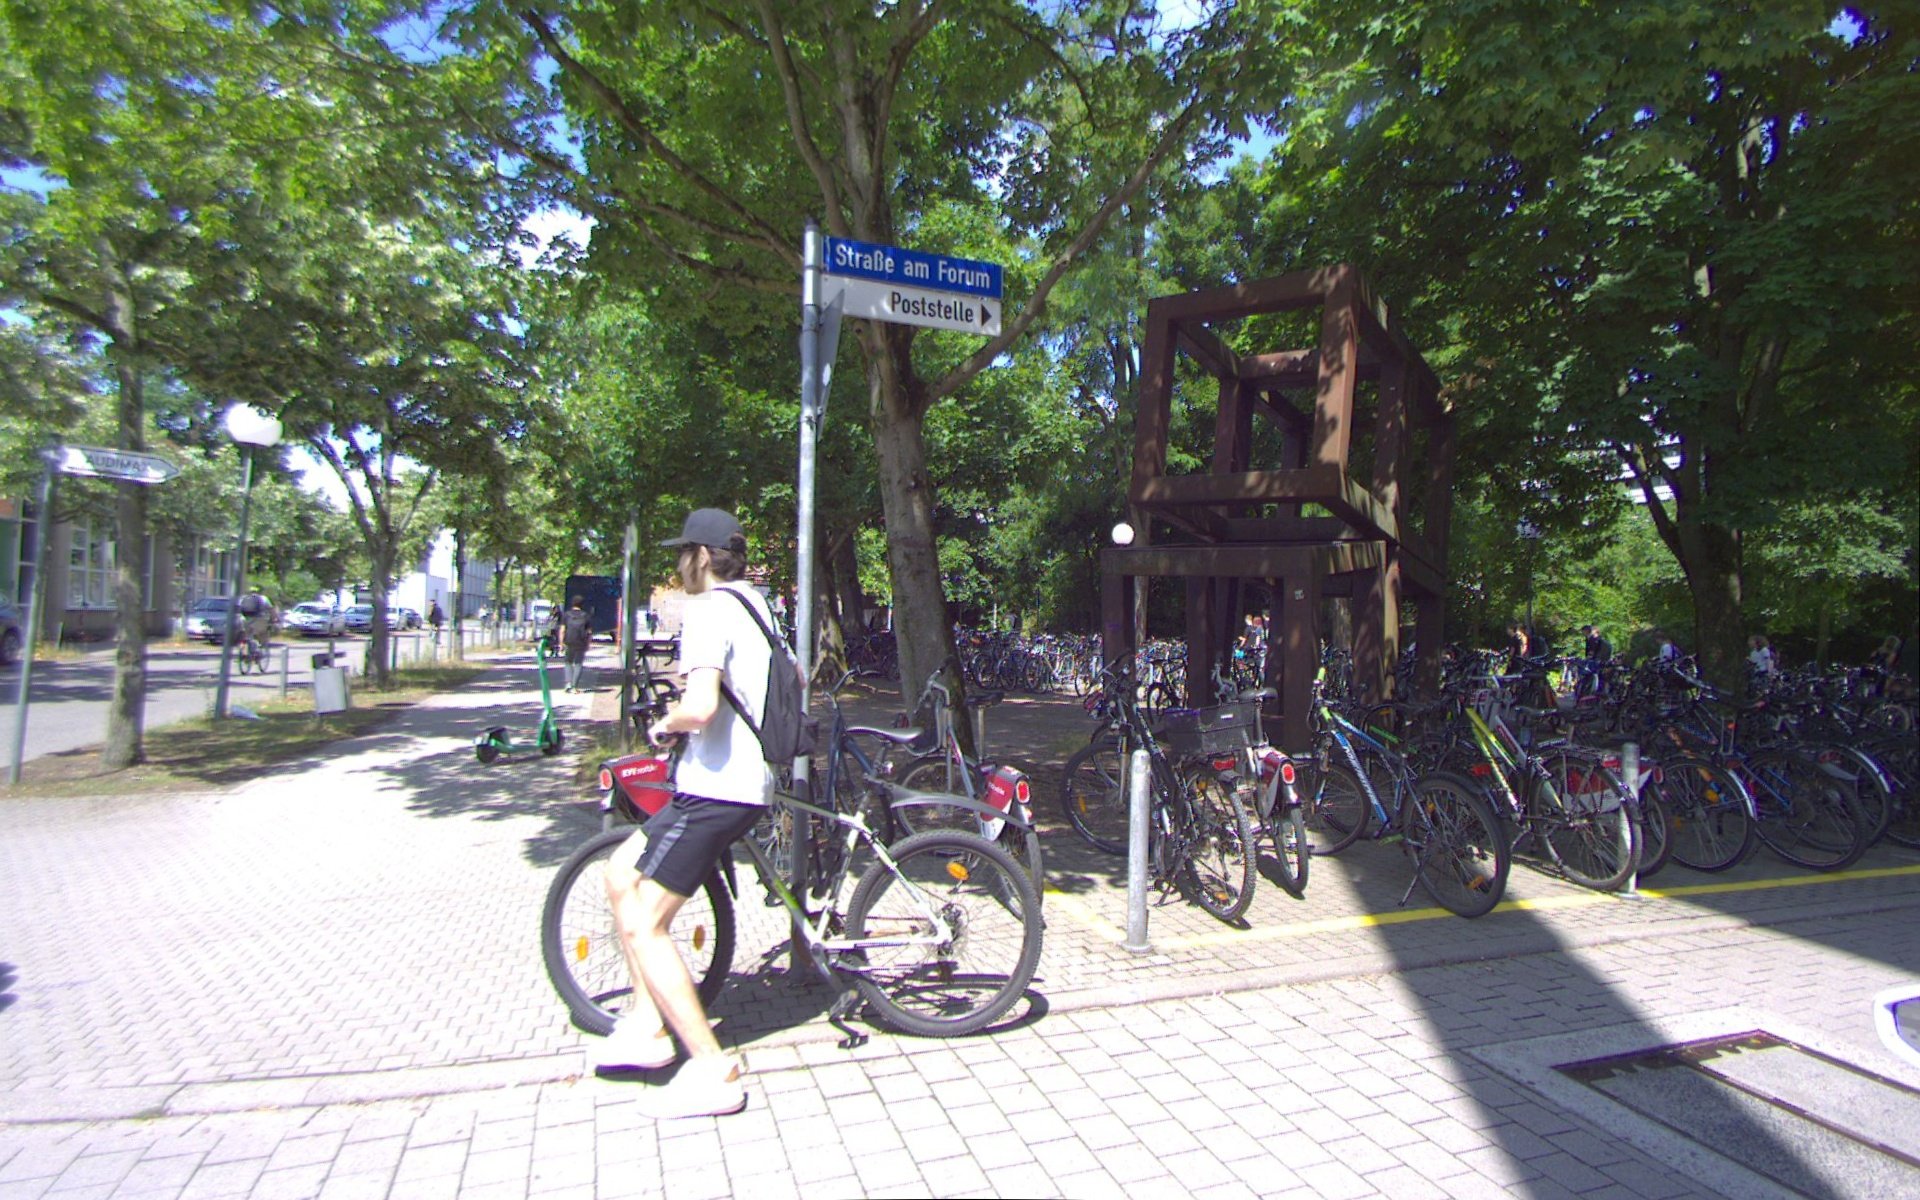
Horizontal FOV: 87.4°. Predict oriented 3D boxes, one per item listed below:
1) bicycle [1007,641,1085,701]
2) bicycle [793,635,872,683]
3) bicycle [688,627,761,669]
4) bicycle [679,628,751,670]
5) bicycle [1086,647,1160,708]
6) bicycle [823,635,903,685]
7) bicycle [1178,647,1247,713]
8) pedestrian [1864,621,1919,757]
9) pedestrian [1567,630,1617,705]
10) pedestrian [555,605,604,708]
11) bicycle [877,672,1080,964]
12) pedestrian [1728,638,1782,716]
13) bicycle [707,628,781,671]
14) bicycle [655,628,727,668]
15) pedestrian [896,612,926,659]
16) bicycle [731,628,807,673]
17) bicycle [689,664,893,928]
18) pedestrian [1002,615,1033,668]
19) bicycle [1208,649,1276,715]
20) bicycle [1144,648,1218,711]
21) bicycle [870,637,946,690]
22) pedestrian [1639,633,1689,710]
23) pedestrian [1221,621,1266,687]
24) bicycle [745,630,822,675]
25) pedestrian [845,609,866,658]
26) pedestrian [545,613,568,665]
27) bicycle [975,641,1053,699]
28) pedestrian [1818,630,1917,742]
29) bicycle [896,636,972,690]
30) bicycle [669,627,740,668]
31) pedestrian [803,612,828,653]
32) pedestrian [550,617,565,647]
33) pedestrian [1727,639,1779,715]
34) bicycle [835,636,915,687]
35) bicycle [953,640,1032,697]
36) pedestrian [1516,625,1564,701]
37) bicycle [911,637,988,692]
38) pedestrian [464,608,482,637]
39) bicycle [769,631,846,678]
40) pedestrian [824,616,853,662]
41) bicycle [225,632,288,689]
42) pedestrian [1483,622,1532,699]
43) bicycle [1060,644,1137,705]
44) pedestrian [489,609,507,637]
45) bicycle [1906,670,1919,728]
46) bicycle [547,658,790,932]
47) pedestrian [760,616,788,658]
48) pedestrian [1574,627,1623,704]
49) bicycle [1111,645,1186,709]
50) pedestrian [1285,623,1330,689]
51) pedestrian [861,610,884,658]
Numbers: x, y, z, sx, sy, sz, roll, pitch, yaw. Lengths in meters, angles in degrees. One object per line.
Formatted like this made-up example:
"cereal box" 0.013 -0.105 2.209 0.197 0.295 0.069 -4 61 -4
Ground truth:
"bicycle" 1.777 1.427 20.425 0.495 1.122 1.996 2 -1 40
"bicycle" -3.113 1.443 24.681 0.496 1.122 2.019 2 -1 43
"bicycle" -6.605 1.358 28.283 0.496 1.122 2.019 2 -1 43
"bicycle" -7.008 1.409 28.799 0.496 1.122 2.019 2 -1 43
"bicycle" 3.206 1.496 19.632 0.495 1.122 1.898 2 -1 40
"bicycle" -2.279 1.416 23.850 0.496 1.122 2.019 2 -1 43
"bicycle" 4.680 1.452 18.528 0.495 1.122 1.900 2 -1 37
"pedestrian" 13.214 1.227 14.043 0.758 1.830 0.707 2 -1 38
"pedestrian" 14.917 1.572 23.713 0.892 1.702 0.767 2 -1 37
"pedestrian" -6.543 0.954 17.246 0.718 1.706 0.869 2 -1 -23
"bicycle" 0.025 0.972 5.054 0.489 1.123 1.623 0 -1 -19
"pedestrian" 18.046 1.729 22.826 0.892 1.702 0.767 2 -1 37
"bicycle" -5.855 1.345 27.354 0.496 1.122 2.019 2 -1 43
"bicycle" -8.067 1.454 30.175 2.013 1.122 0.497 3 -1 -39
"pedestrian" -1.942 1.399 39.520 0.763 1.798 0.897 3 -1 -37
"bicycle" -4.995 1.329 26.425 0.496 1.122 2.019 2 -1 43
"bicycle" -0.845 0.959 5.521 0.578 1.123 1.747 0 -1 9
"pedestrian" 2.015 1.439 35.250 0.758 1.798 0.903 2 -1 -19
"bicycle" 5.147 1.464 18.262 0.495 1.122 1.900 2 -1 37
"bicycle" 4.204 1.480 19.009 0.495 1.122 1.898 2 -1 40
"bicycle" -1.150 1.426 22.771 0.495 1.122 2.023 2 -1 37
"pedestrian" 16.438 1.647 23.449 0.892 1.702 0.767 2 -1 37
"pedestrian" 8.008 1.513 28.382 0.764 1.798 0.896 3 -1 -42
"bicycle" -4.548 1.363 25.992 0.496 1.122 2.019 2 -1 43
"pedestrian" -3.949 1.255 37.950 0.496 1.794 0.666 2 -1 -28
"pedestrian" -12.249 1.176 30.499 0.562 1.540 0.837 2 -1 -20
"bicycle" 1.144 1.435 20.830 0.495 1.122 1.996 2 -1 40
"pedestrian" 14.727 1.375 16.319 0.890 1.725 0.769 2 -1 -6
"bicycle" -0.549 1.379 22.301 0.495 1.122 2.023 2 -1 37
"bicycle" -7.390 1.379 29.151 0.496 1.122 2.019 2 -1 43
"pedestrian" -6.623 1.466 45.976 0.763 1.826 0.897 3 -1 -37
"pedestrian" -21.342 1.693 53.260 0.612 1.540 0.733 2 -1 -17
"pedestrian" 18.520 1.785 23.477 0.892 1.702 0.767 2 -1 37
"bicycle" -1.954 1.426 23.419 0.496 1.122 2.019 2 -1 43
"bicycle" 0.706 1.426 21.223 0.495 1.122 1.996 2 -1 40
"pedestrian" 14.280 1.532 24.720 0.892 1.798 0.767 2 -1 37
"bicycle" -0.204 1.404 22.024 0.495 1.122 2.023 2 -1 37
"pedestrian" -31.034 1.459 63.996 0.764 1.798 0.896 3 -1 -42
"bicycle" -3.856 1.379 25.543 0.496 1.122 2.019 2 -1 43
"pedestrian" -4.901 1.553 40.446 0.763 1.798 0.897 3 -1 -37
"bicycle" -14.964 1.261 21.406 0.596 1.122 2.062 1 -2 -21
"pedestrian" 13.286 1.459 24.386 0.892 1.798 0.767 2 -1 37
"bicycle" 2.776 1.466 19.948 0.495 1.122 1.996 2 -1 40
"pedestrian" -29.893 1.498 65.006 0.764 1.798 0.896 3 -1 -42
"bicycle" 18.490 1.896 18.725 0.464 1.098 1.700 2 -1 15
"bicycle" -1.486 0.938 5.436 0.626 1.175 1.631 0 -1 9
"pedestrian" -8.156 1.618 44.116 0.911 1.798 0.778 3 -1 -37
"pedestrian" 15.550 1.577 24.460 0.892 1.798 0.767 2 -1 37
"bicycle" 3.617 1.445 19.137 0.495 1.122 1.898 2 -1 40
"pedestrian" 9.753 1.565 28.176 0.764 1.798 0.896 3 -1 -41
"pedestrian" -3.340 1.291 38.294 0.602 1.798 0.654 2 -1 -29
